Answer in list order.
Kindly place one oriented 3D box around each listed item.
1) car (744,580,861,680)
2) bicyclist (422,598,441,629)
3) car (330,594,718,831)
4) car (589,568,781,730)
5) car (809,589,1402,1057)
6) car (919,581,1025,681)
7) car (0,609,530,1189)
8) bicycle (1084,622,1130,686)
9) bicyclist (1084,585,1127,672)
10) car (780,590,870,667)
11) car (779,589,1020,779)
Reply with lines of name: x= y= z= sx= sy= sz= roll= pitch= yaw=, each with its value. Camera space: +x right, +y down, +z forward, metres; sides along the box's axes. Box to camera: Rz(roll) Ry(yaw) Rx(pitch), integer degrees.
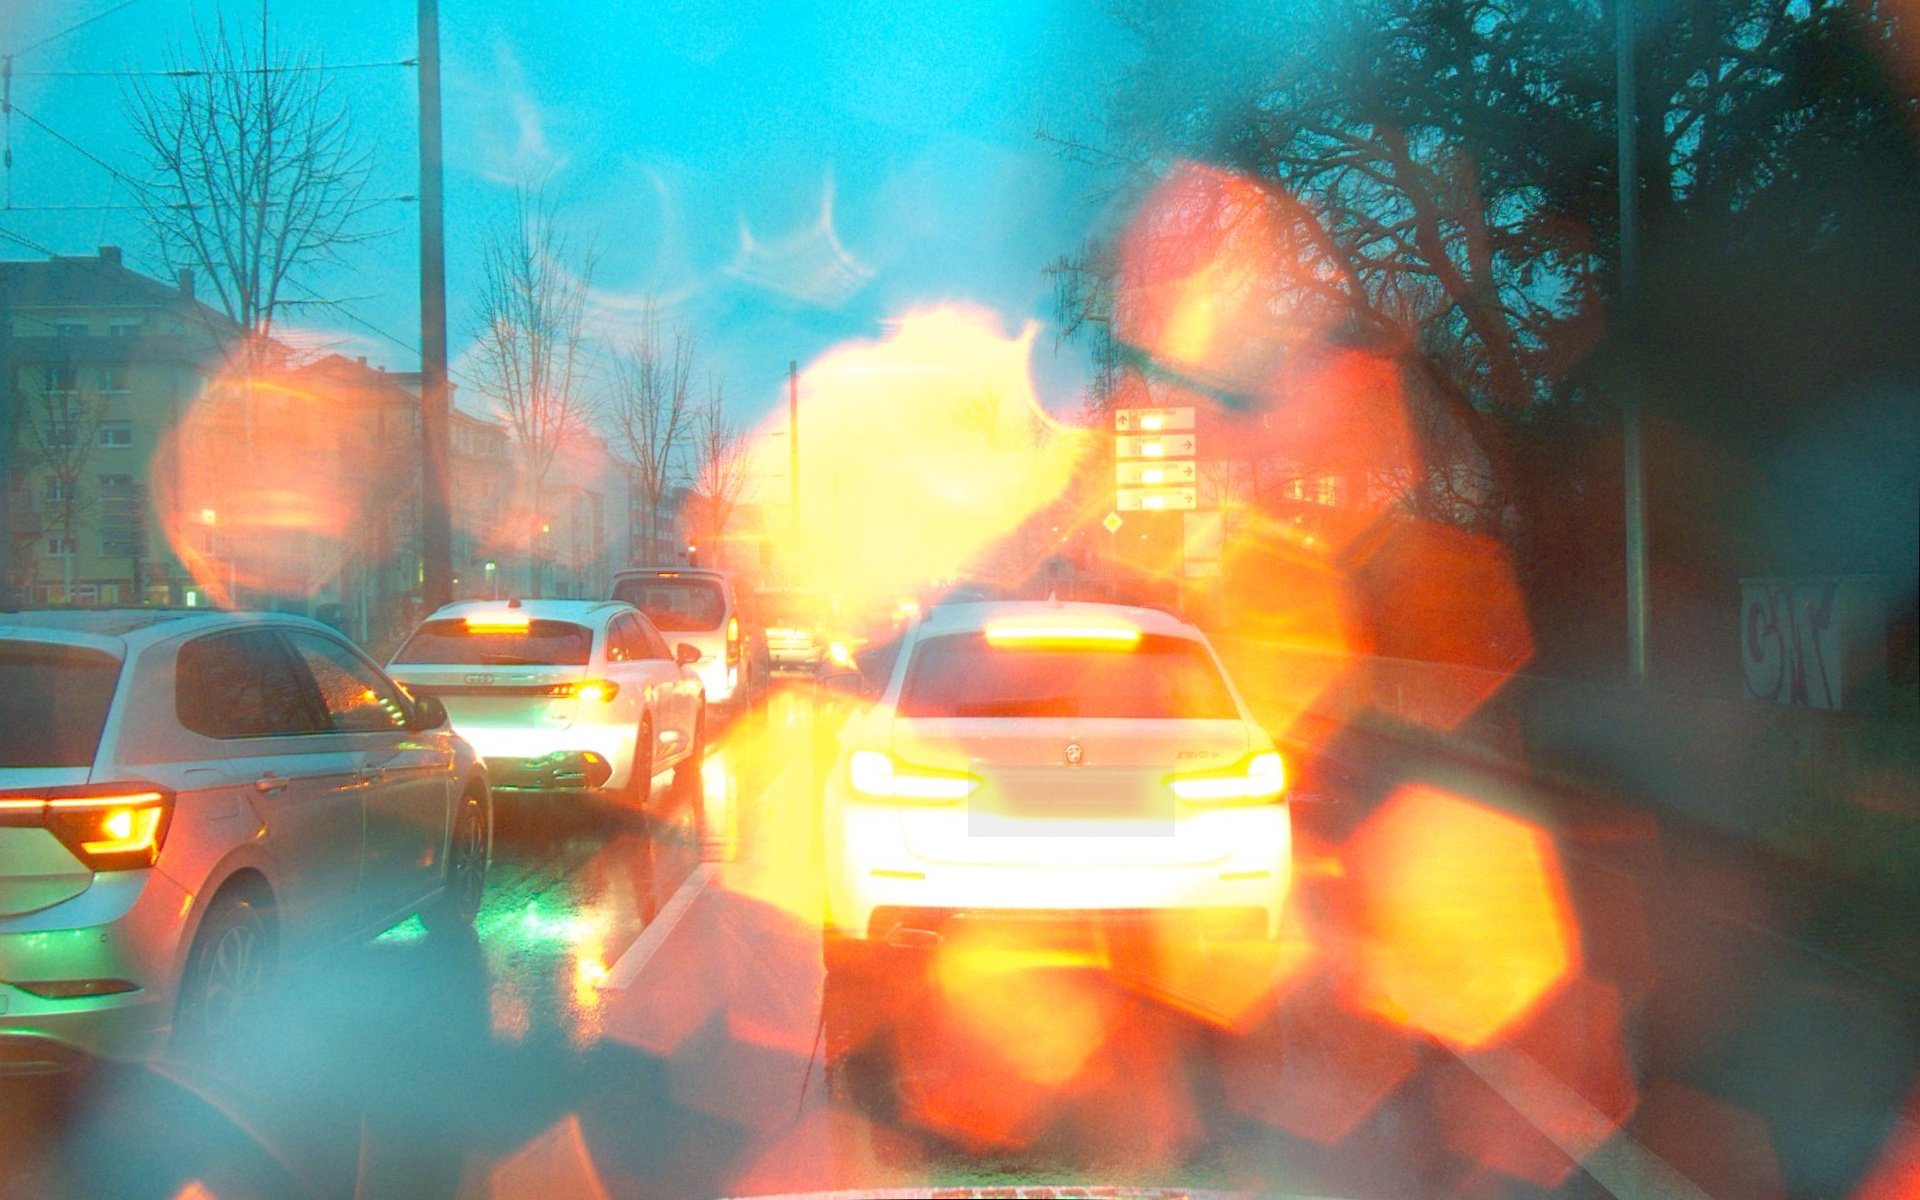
car: x=-2.773 y=0.498 z=29.832 sx=1.770 sy=1.674 sz=3.999 roll=0 pitch=0 yaw=-1
bicyclist: x=-28.158 y=0.717 z=88.088 sx=0.782 sy=1.607 sz=0.629 roll=1 pitch=0 yaw=-37
car: x=-2.983 y=0.689 z=12.370 sx=1.809 sy=1.430 sz=4.612 roll=0 pitch=0 yaw=-2
car: x=-3.262 y=0.539 z=20.422 sx=1.757 sy=1.766 sz=4.535 roll=0 pitch=0 yaw=-2
car: x=0.455 y=0.722 z=7.542 sx=1.958 sy=1.534 sz=4.162 roll=0 pitch=0 yaw=-1
car: x=0.173 y=0.504 z=29.768 sx=1.770 sy=1.674 sz=3.999 roll=0 pitch=0 yaw=-1
car: x=-2.898 y=0.746 z=6.028 sx=1.727 sy=1.395 sz=3.980 roll=0 pitch=0 yaw=-2
bicycle: x=2.445 y=0.890 z=27.732 sx=0.632 sy=0.983 sz=2.047 roll=-1 pitch=0 yaw=1
bicyclist: x=2.434 y=0.469 z=27.761 sx=0.632 sy=1.413 sz=0.890 roll=-1 pitch=0 yaw=1
car: x=-3.042 y=0.614 z=37.907 sx=1.770 sy=1.674 sz=3.999 roll=0 pitch=0 yaw=-1
car: x=-0.504 y=0.646 z=15.079 sx=1.896 sy=1.483 sz=4.162 roll=0 pitch=0 yaw=-1
